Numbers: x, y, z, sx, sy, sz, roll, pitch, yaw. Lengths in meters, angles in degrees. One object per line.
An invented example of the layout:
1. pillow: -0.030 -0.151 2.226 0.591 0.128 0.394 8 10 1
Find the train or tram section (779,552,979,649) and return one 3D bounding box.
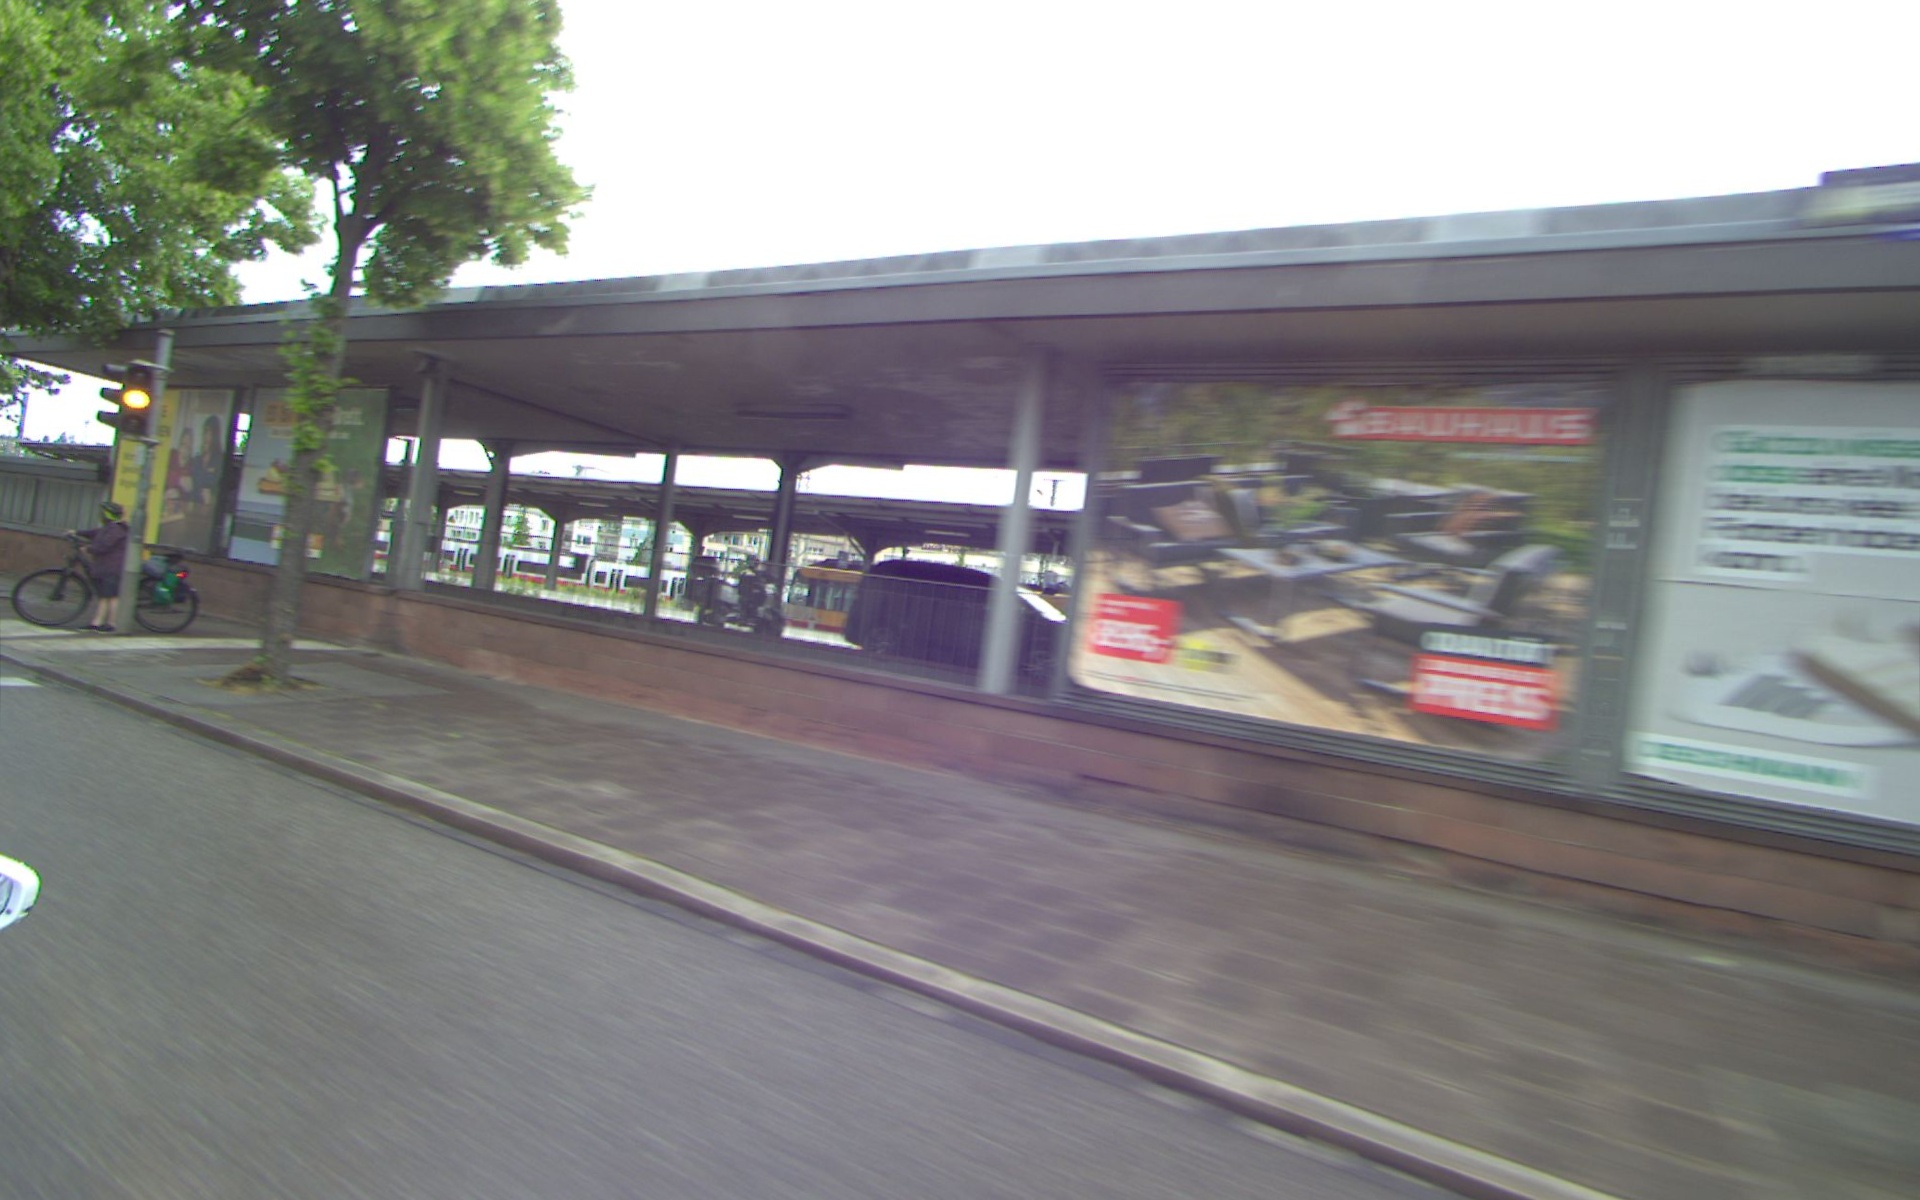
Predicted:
1. train or tram section: -3.702 -0.038 44.704 8.614 3.323 2.658 6 0 30

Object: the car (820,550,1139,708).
1. car: 0.272 0.436 16.041 4.520 1.893 1.998 6 -1 30

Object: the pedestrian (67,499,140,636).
1. pedestrian: -10.322 -0.385 12.138 0.452 1.588 0.390 7 0 -27

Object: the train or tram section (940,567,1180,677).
1. train or tram section: 3.866 0.826 40.282 8.979 3.323 2.658 6 0 30

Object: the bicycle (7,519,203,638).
1. bicycle: -10.499 -0.247 12.420 1.705 1.265 0.483 6 1 -28

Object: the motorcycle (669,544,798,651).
1. motorcycle: -4.006 -0.003 18.046 0.682 1.628 2.346 7 -2 30
